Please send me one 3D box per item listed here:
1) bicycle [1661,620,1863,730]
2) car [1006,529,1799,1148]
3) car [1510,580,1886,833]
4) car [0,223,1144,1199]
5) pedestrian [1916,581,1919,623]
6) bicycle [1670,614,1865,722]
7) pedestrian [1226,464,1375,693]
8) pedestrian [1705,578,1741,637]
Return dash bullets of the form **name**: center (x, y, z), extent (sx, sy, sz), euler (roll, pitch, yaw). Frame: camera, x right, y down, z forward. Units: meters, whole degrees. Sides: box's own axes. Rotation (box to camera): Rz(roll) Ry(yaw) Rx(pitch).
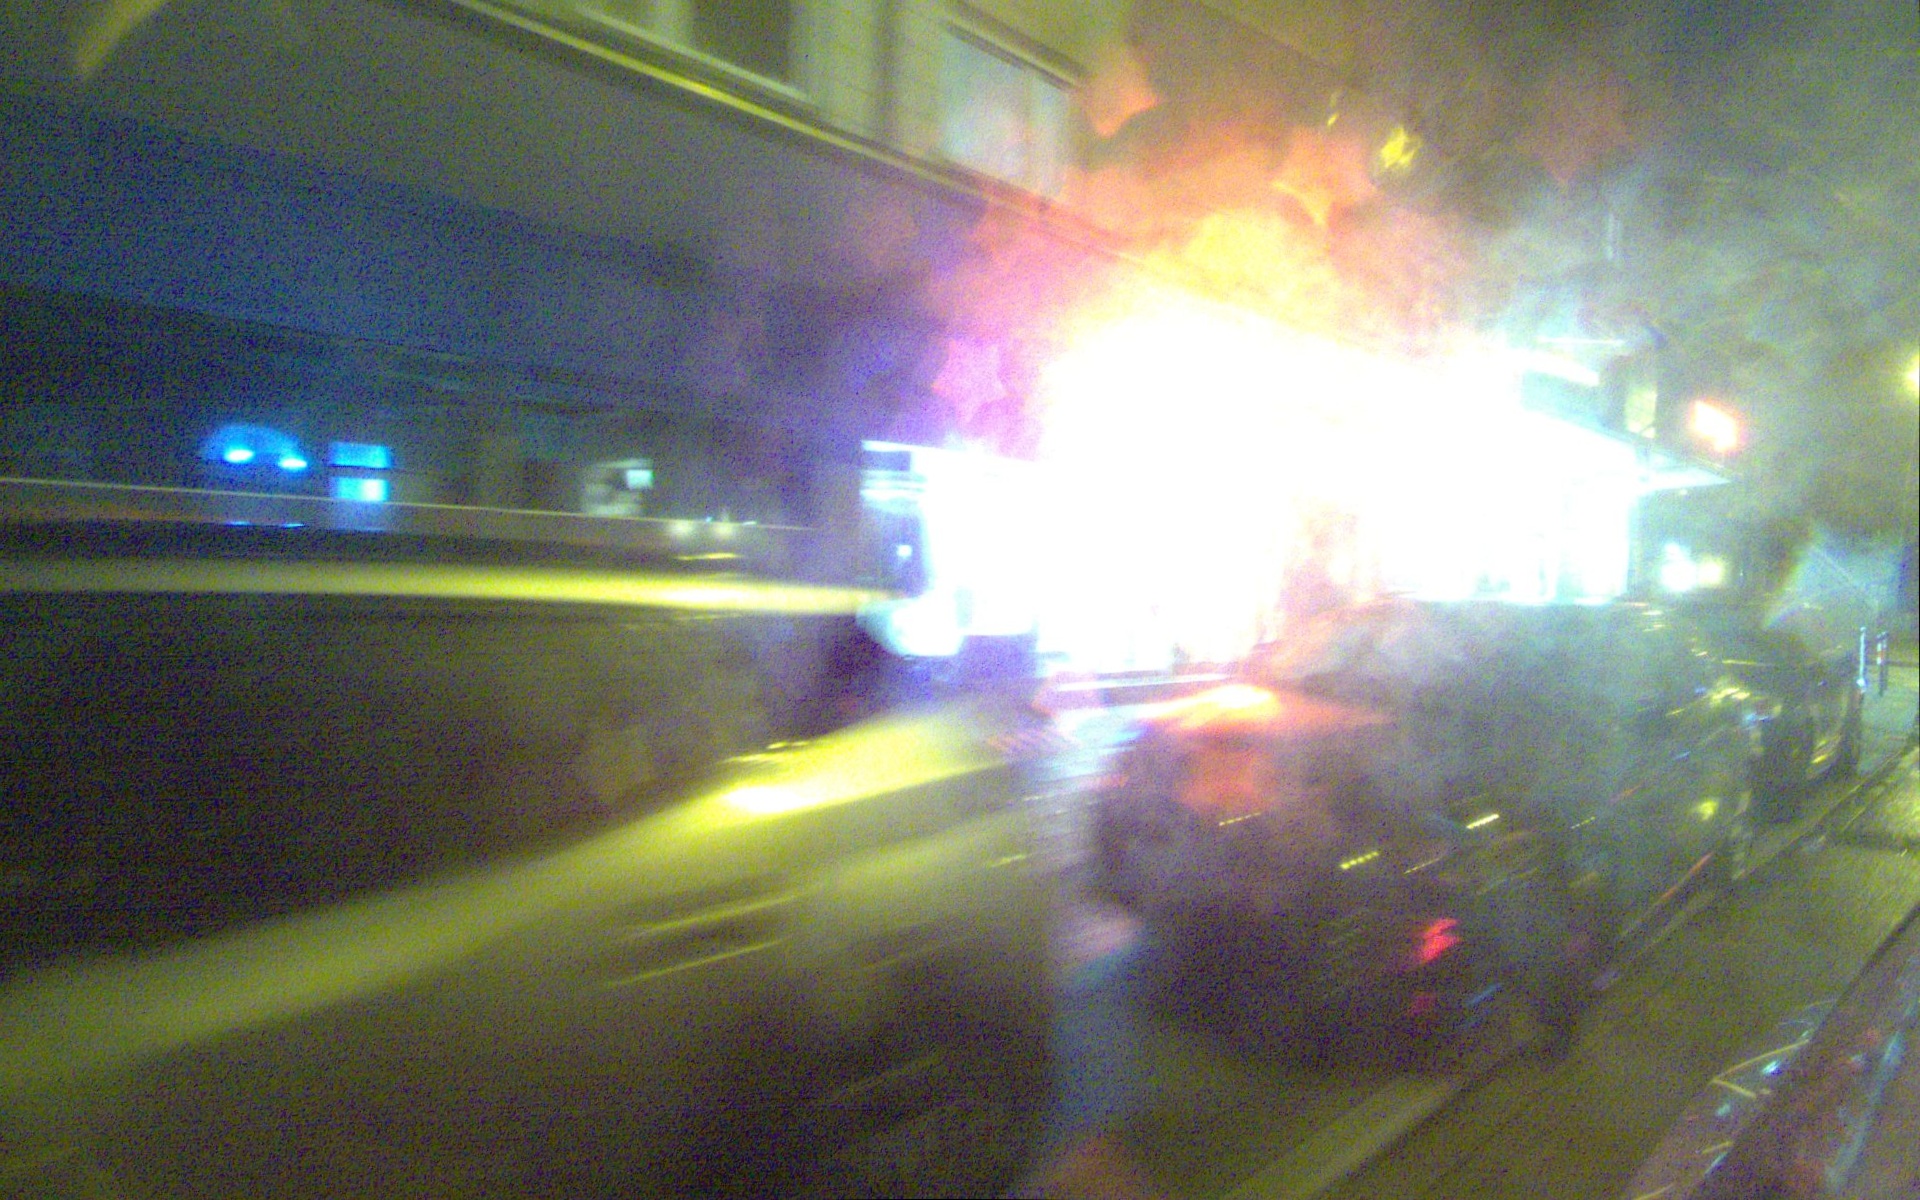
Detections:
- **bicycle**: center (9.241, 0.827, 11.727), extent (0.428, 1.092, 1.765), euler (1, 1, -42)
- **car**: center (2.350, 0.555, 4.659), extent (4.324, 1.557, 1.755), euler (-1, 1, -42)
- **car**: center (6.259, 0.633, 8.401), extent (4.084, 1.585, 1.755), euler (-1, 1, -42)
- **car**: center (-1.646, 0.458, 1.425), extent (3.922, 1.628, 1.755), euler (-1, 1, -42)
- **pedestrian**: center (42.569, 0.107, 44.234), extent (0.793, 1.839, 0.793), euler (0, 2, -16)
- **bicycle**: center (9.851, 0.787, 12.412), extent (0.428, 1.139, 1.786), euler (1, 2, -42)
- **pedestrian**: center (3.545, -0.242, 10.569), extent (0.953, 2.235, 1.056), euler (0, 3, -41)
- **pedestrian**: center (24.674, 0.241, 32.727), extent (1.058, 1.855, 0.676), euler (1, 0, -39)
